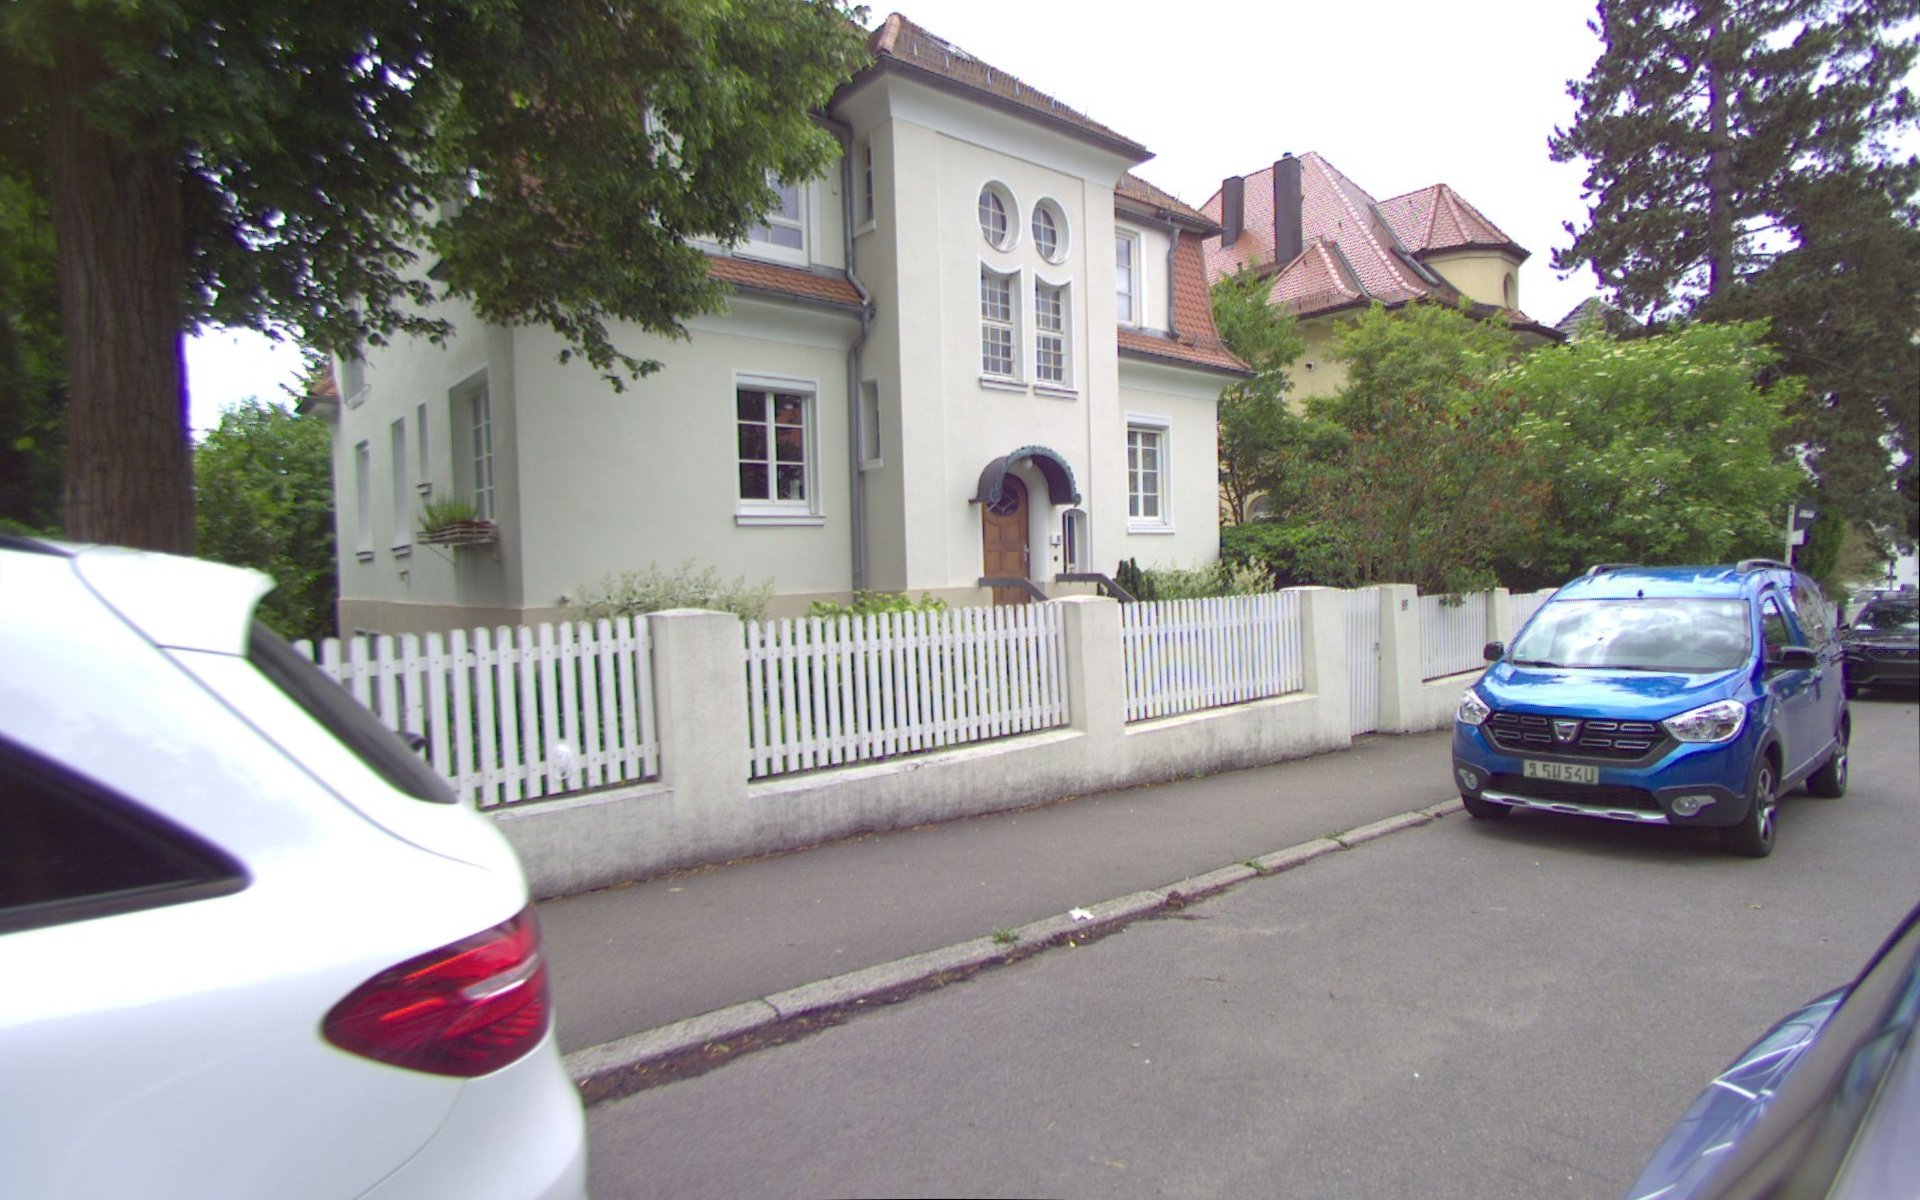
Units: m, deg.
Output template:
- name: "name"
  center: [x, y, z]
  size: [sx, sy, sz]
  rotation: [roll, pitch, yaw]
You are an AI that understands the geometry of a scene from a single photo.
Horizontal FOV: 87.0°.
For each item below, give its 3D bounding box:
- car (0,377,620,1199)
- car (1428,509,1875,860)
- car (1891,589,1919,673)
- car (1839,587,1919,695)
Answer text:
- name: "car"
  center: [-2.643, 0.624, 0.352]
  size: [4.499, 1.626, 1.758]
  rotation: [0, -1, -44]
- name: "car"
  center: [5.172, 0.483, 7.352]
  size: [4.084, 1.853, 1.685]
  rotation: [1, -2, -41]
- name: "car"
  center: [20.401, 0.570, 20.537]
  size: [4.230, 1.624, 1.787]
  rotation: [0, -2, -42]
- name: "car"
  center: [15.998, 0.598, 16.633]
  size: [4.004, 1.628, 1.752]
  rotation: [-1, -1, -41]
